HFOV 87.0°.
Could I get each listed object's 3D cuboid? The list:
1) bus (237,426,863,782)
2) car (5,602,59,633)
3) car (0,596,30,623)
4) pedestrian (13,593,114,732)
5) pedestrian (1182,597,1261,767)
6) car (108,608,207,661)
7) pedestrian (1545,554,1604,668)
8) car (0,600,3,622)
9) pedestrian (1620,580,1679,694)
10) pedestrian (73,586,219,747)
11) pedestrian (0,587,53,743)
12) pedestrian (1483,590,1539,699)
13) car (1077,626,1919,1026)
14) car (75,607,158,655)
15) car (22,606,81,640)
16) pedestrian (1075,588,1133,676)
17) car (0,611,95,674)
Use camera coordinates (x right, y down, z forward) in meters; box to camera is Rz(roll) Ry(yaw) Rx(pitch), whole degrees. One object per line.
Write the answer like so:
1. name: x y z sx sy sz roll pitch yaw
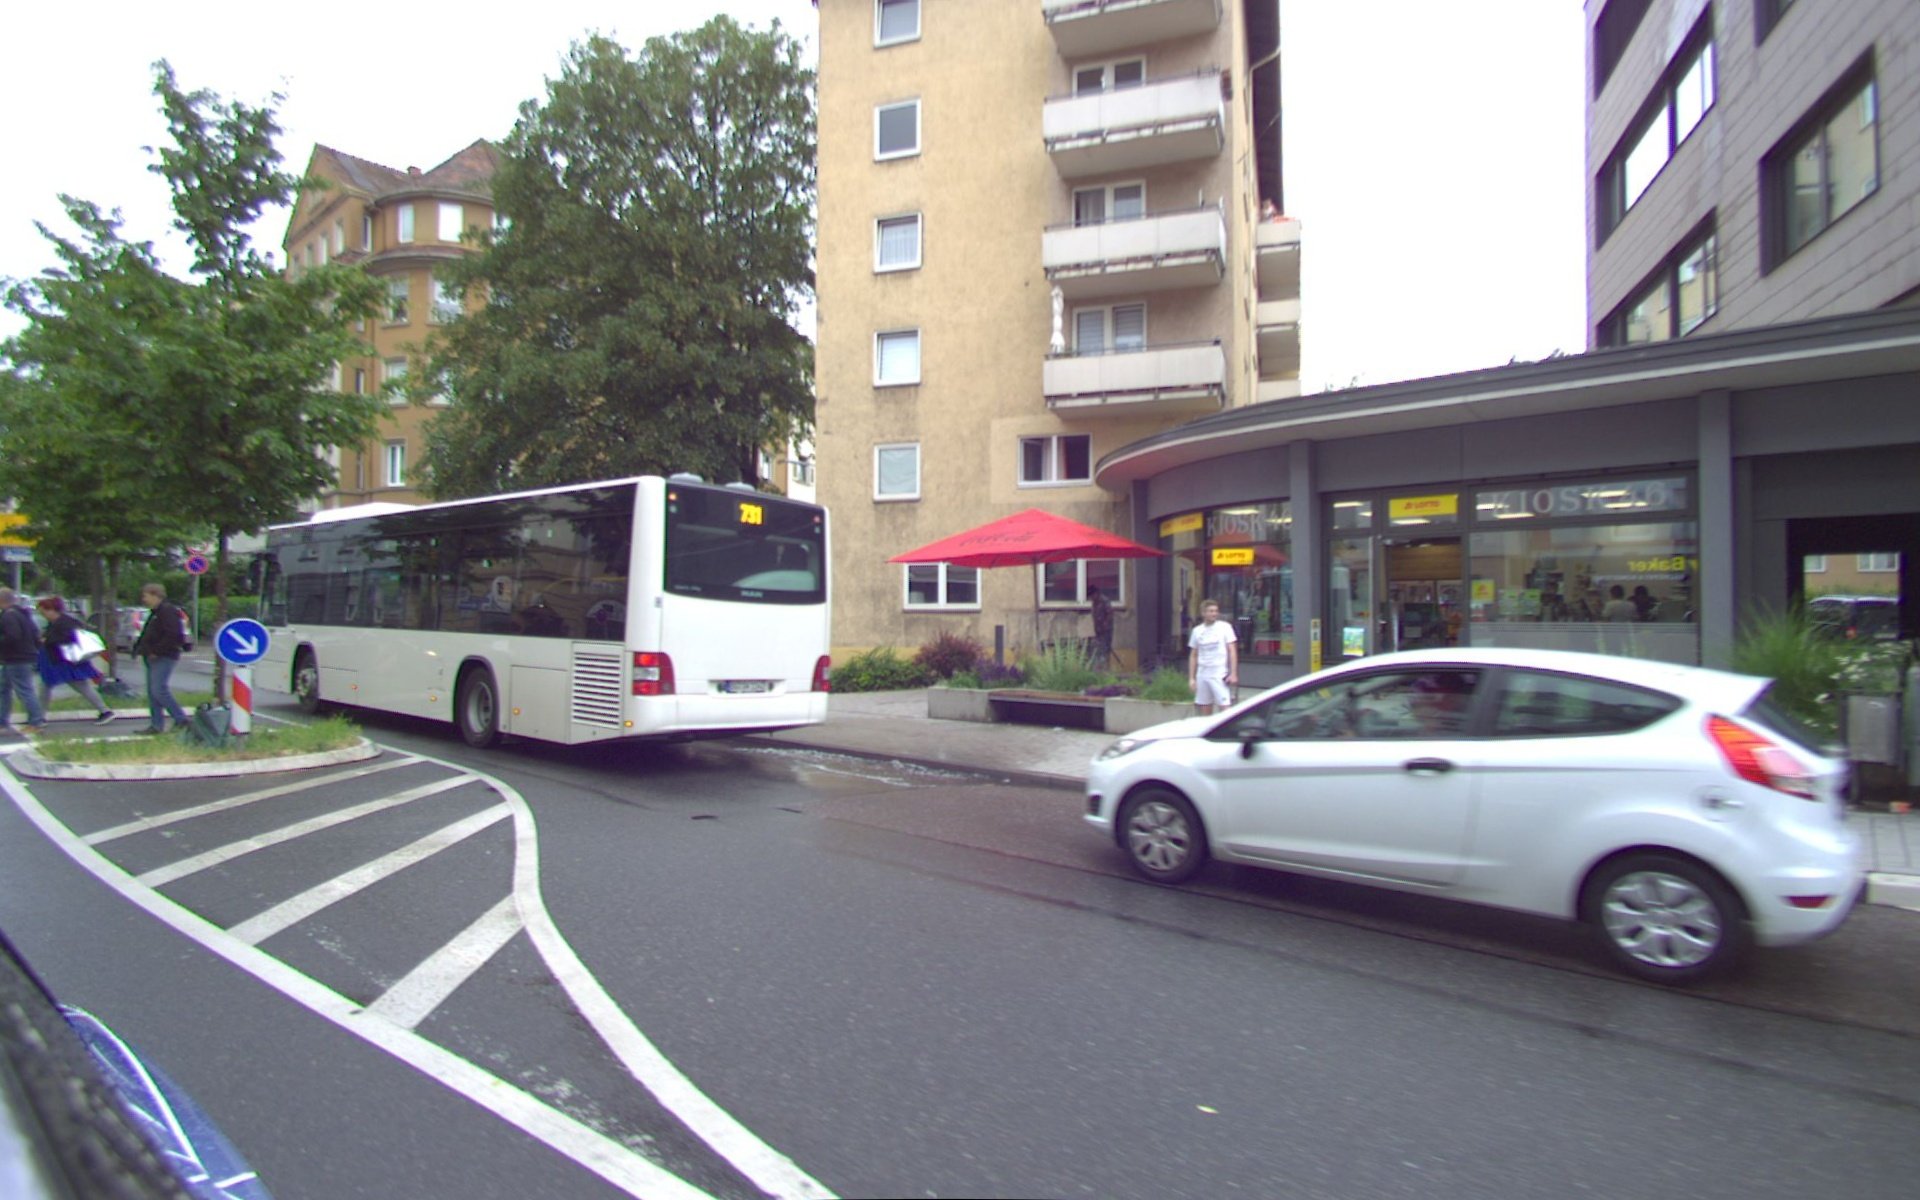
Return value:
1. bus: -6.610 0.134 14.223 11.954 3.271 2.776 0 -5 41
2. car: -48.075 0.881 52.410 3.392 1.527 1.651 0 1 41
3. car: -55.709 0.525 59.082 3.392 1.527 1.651 0 1 41
4. pedestrian: -11.263 0.779 12.741 0.779 1.678 0.700 3 -3 -33
5. pedestrian: 2.798 0.845 10.817 0.756 1.721 0.788 -1 0 16
6. car: -26.165 1.072 32.952 3.673 1.527 1.791 0 1 40
7. pedestrian: 9.119 0.159 15.012 0.642 1.640 0.580 1 -1 -43
8. car: -67.572 0.751 70.126 3.392 1.527 1.538 0 1 42
9. pedestrian: 10.238 0.540 15.030 0.642 1.640 0.580 1 -1 -43
10. pedestrian: -9.424 0.755 11.742 0.852 1.762 1.051 0 -3 34
11. pedestrian: -11.053 0.741 11.820 0.698 1.762 0.603 -1 -1 42
12. pedestrian: 8.558 0.681 15.718 0.642 1.640 0.580 1 -1 -43
13. car: 2.680 0.927 5.625 3.805 1.475 1.598 -2 -5 41
14. car: -29.760 1.062 35.680 3.391 1.527 1.651 0 1 40
15. car: -43.875 1.074 48.844 3.695 1.527 1.651 0 1 41
16. pedestrian: 2.771 0.588 19.397 0.934 1.624 1.146 -1 0 16
17. car: -22.566 0.976 23.120 1.806 1.431 3.954 -1 -1 34
